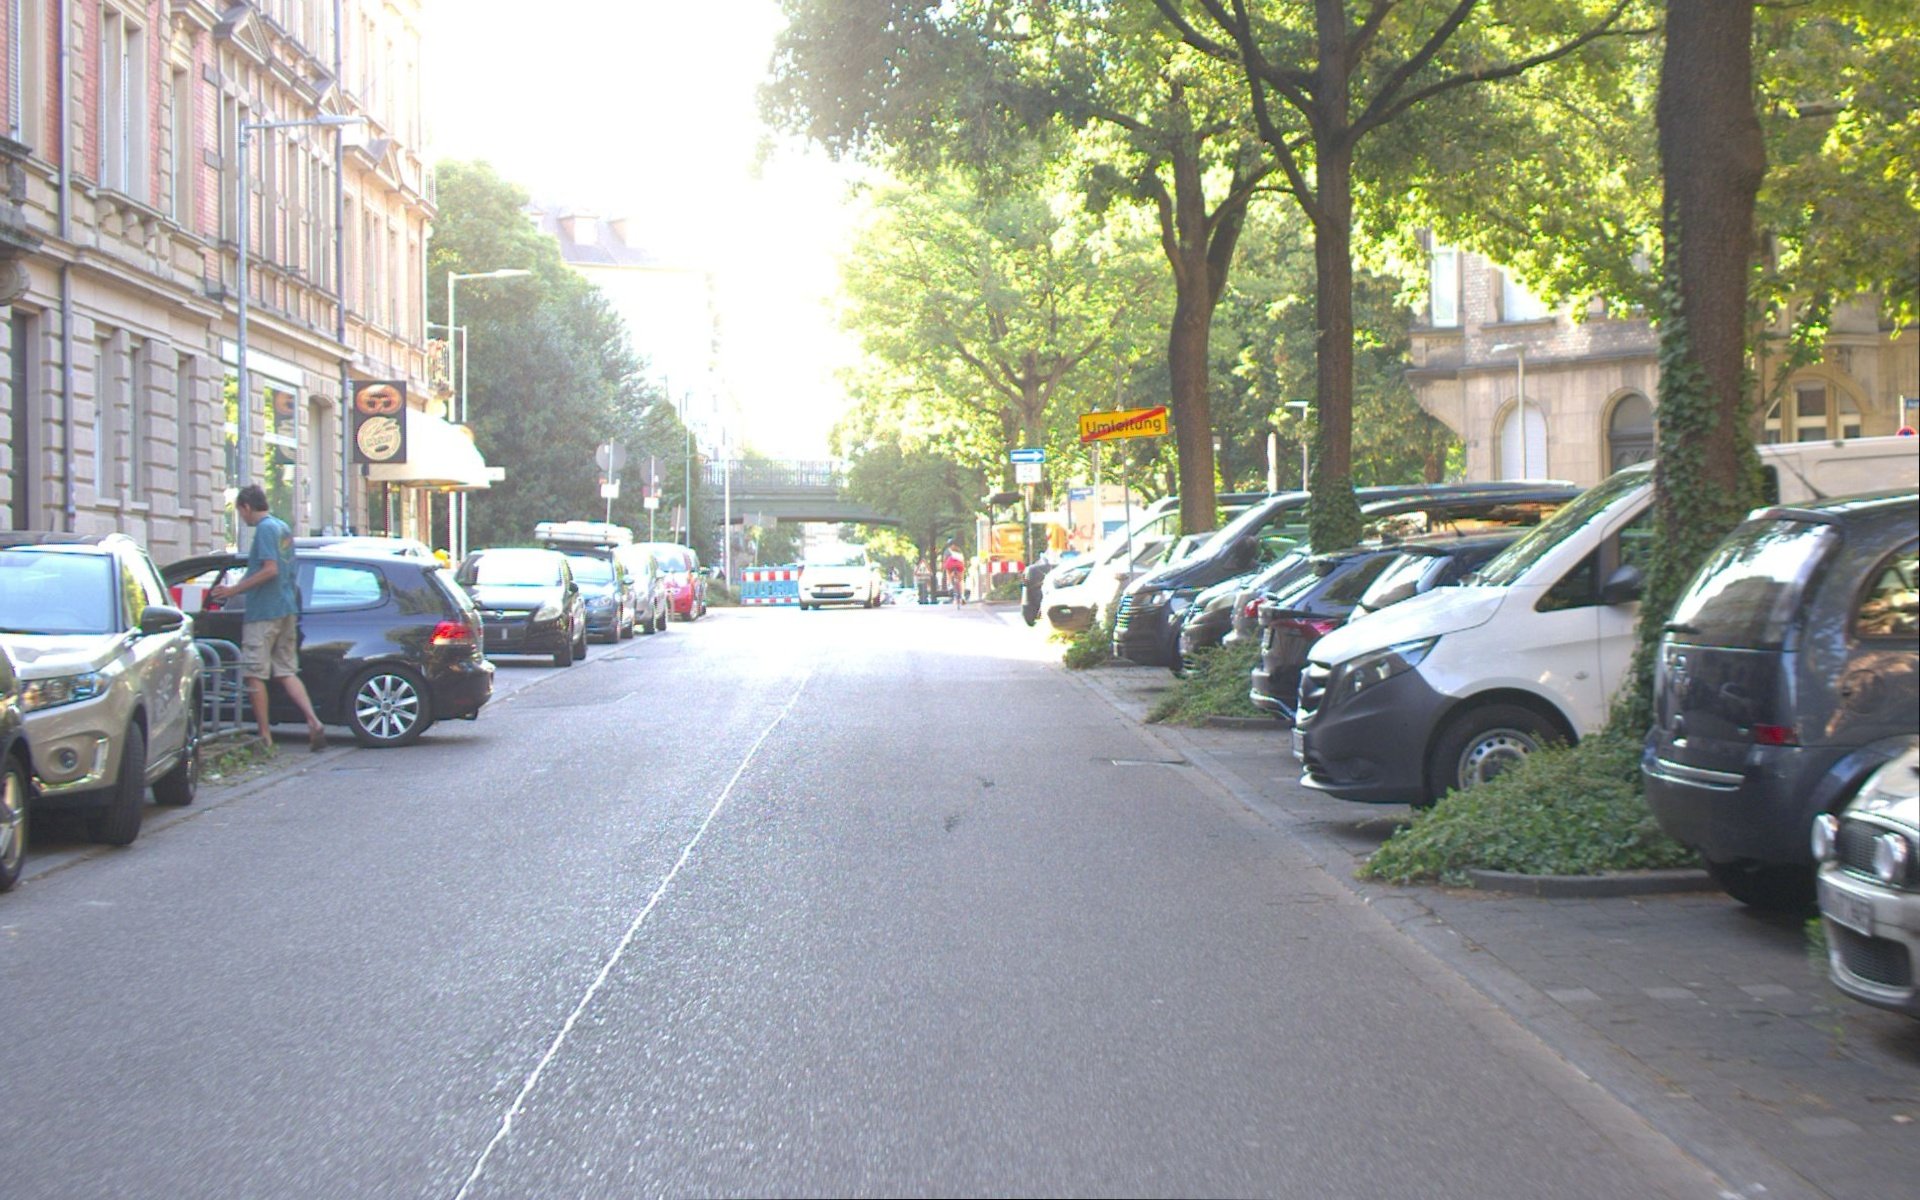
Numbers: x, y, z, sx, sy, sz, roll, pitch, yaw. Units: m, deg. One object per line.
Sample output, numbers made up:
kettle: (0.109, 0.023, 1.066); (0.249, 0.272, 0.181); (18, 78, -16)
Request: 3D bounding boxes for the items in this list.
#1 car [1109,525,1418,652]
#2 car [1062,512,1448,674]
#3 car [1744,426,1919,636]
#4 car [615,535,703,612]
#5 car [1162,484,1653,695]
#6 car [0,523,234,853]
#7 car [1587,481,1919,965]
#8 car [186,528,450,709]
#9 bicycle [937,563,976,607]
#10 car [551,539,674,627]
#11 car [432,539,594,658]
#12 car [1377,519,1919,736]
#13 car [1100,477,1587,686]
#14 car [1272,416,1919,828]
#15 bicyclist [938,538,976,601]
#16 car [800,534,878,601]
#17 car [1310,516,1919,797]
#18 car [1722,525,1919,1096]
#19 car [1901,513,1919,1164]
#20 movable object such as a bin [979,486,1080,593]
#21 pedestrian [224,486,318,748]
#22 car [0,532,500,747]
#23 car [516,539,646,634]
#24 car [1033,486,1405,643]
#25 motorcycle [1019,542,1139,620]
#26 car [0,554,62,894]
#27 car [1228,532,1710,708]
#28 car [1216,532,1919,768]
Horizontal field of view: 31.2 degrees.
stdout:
car: (3.906, -0.167, 44.673); (3.840, 1.590, 1.741); (0, 1, -1)
car: (3.170, -0.096, 37.494); (3.986, 1.686, 1.800); (-1, 1, -2)
car: (13.072, -0.864, 43.018); (5.893, 2.528, 2.380); (0, 1, -7)
car: (-6.117, -0.549, 70.168); (1.669, 1.525, 4.001); (0, 1, -3)
car: (4.152, -0.119, 32.337); (4.267, 1.878, 1.940); (-1, 1, -4)
car: (-5.090, 0.383, 18.863); (1.647, 1.569, 4.050); (2, 1, -5)
car: (4.470, 0.384, 12.749); (3.883, 1.643, 1.725); (-1, 1, -5)
car: (-5.908, 0.123, 32.034); (1.741, 1.562, 3.895); (-1, 1, 0)
bicycle: (-0.090, -0.348, 76.939); (0.803, 0.965, 2.108); (1, 1, -1)
car: (-6.010, -0.325, 59.837); (1.725, 1.432, 3.996); (2, 1, 0)
car: (-5.731, -0.057, 44.447); (1.703, 1.449, 4.021); (0, 1, -2)
car: (5.262, 0.175, 25.518); (4.081, 1.492, 1.843); (-1, 1, 0)
car: (3.814, -0.203, 34.754); (4.614, 2.007, 2.000); (-1, 1, -3)
car: (4.243, 0.137, 17.399); (5.091, 1.933, 2.158); (0, -2, 0)
bicyclist: (-0.072, -0.685, 76.893); (0.803, 1.378, 0.985); (1, 1, -2)
car: (-2.806, -0.778, 80.168); (1.749, 1.504, 4.000); (0, 1, -1)
car: (4.261, 0.287, 20.416); (3.986, 1.469, 1.782); (-2, 1, -8)
car: (4.492, 0.517, 9.941); (4.104, 1.498, 1.811); (-1, 1, -5)
car: (4.648, 0.534, 7.423); (4.658, 1.498, 1.933); (-1, 1, -10)
movable object such as a bin: (1.795, -1.533, 87.861); (1.994, 2.690, 3.108); (0, 0, 12)
pedestrian: (-5.040, 0.116, 25.148); (0.638, 1.881, 0.592); (-1, 1, -12)
car: (-5.561, 0.277, 26.314); (3.986, 1.524, 1.826); (-1, 1, -6)
car: (-5.975, -0.248, 54.619); (1.764, 1.432, 4.301); (0, 1, -2)
car: (3.535, -0.504, 47.685); (4.973, 2.089, 2.106); (0, 1, -1)
motorcycle: (2.102, -0.345, 60.978); (2.023, 1.280, 0.904); (-2, 1, -2)
car: (-4.961, 0.540, 13.909); (1.647, 1.468, 4.000); (2, 1, -1)
car: (4.343, 0.154, 29.859); (3.987, 1.443, 1.890); (0, 1, 4)
car: (3.986, 0.303, 23.041); (4.369, 1.450, 1.934); (-1, 1, 0)
